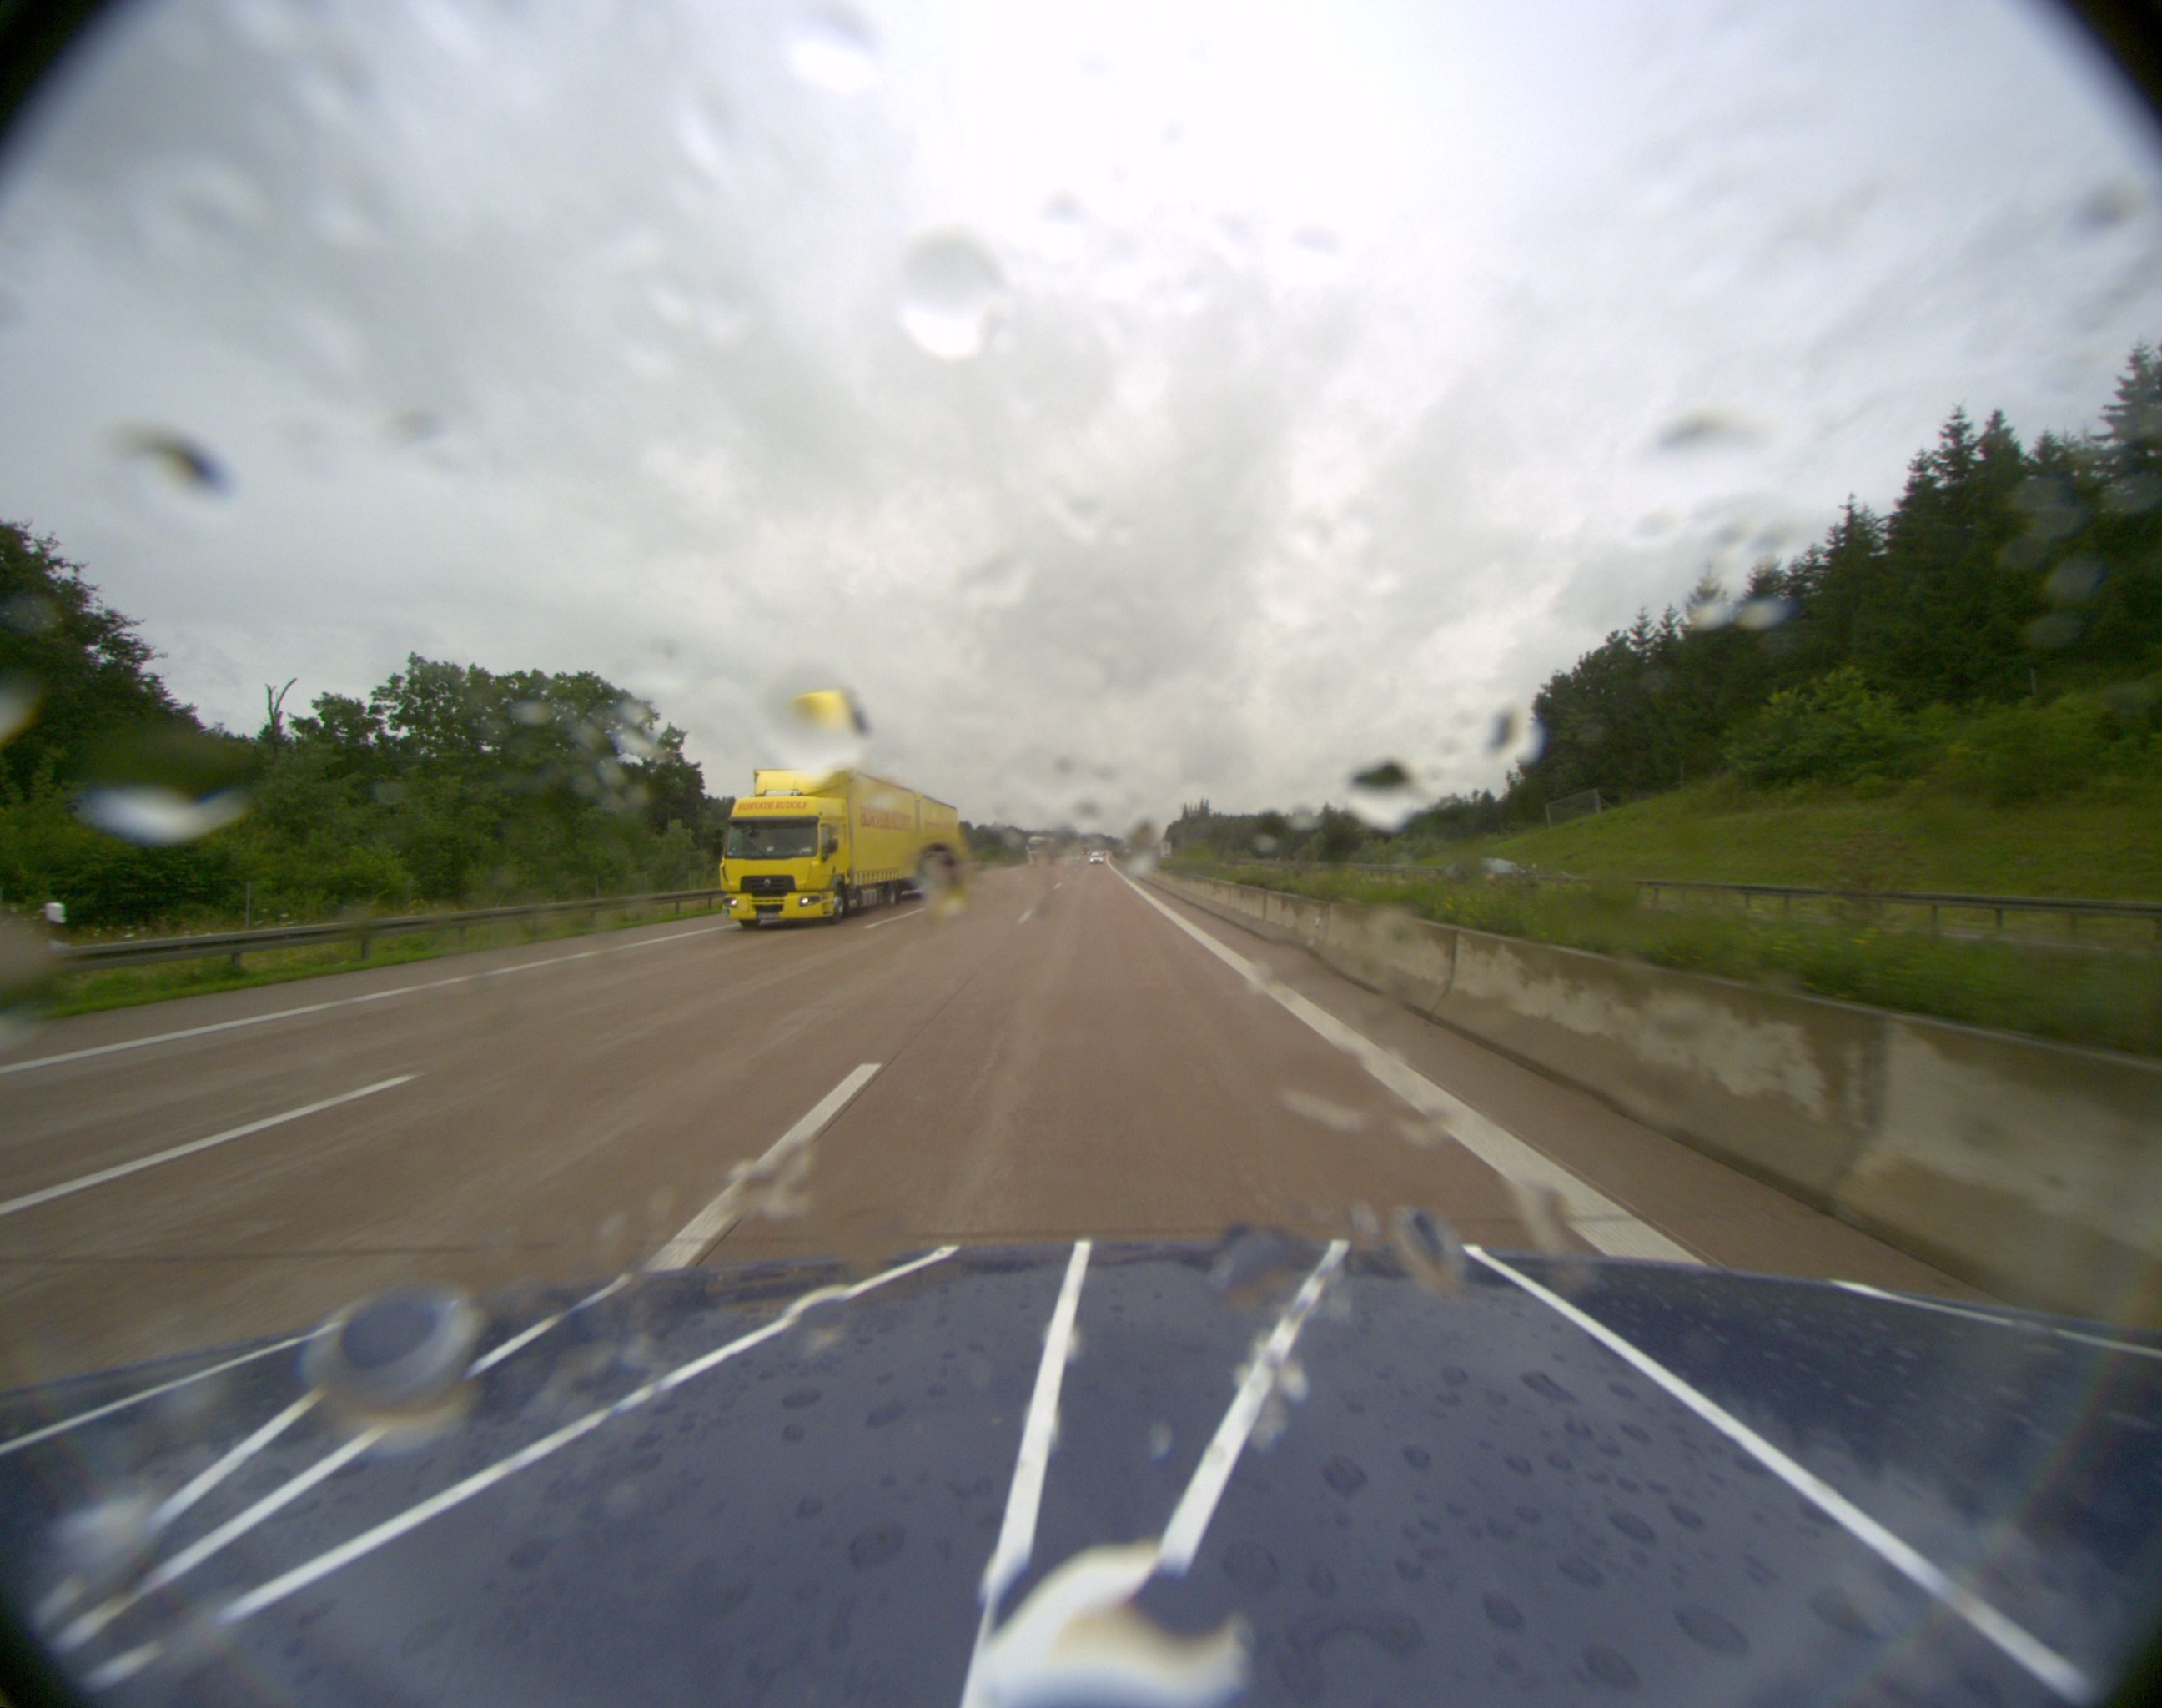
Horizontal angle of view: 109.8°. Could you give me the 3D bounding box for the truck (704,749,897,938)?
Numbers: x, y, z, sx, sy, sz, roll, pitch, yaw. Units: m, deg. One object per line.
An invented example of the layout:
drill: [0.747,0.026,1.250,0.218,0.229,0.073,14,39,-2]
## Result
truck: [-7.116,-0.273,20.387,2.610,4.190,6.249,-2,1,1]

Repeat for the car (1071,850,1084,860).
car: [-0.631,0.140,126.416,1.998,1.623,4.931,-2,1,1]

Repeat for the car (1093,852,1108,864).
car: [2.672,0.529,105.746,1.998,1.623,4.931,-2,1,1]

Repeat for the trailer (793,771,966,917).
trailer: [-7.000,-0.380,29.400,2.572,4.204,14.078,-2,1,1]

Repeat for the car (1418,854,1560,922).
car: [12.040,0.926,22.798,1.998,1.710,4.259,-2,1,1]

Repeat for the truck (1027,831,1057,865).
truck: [-5.444,-0.885,109.450,3.190,4.348,14.702,-2,1,1]
